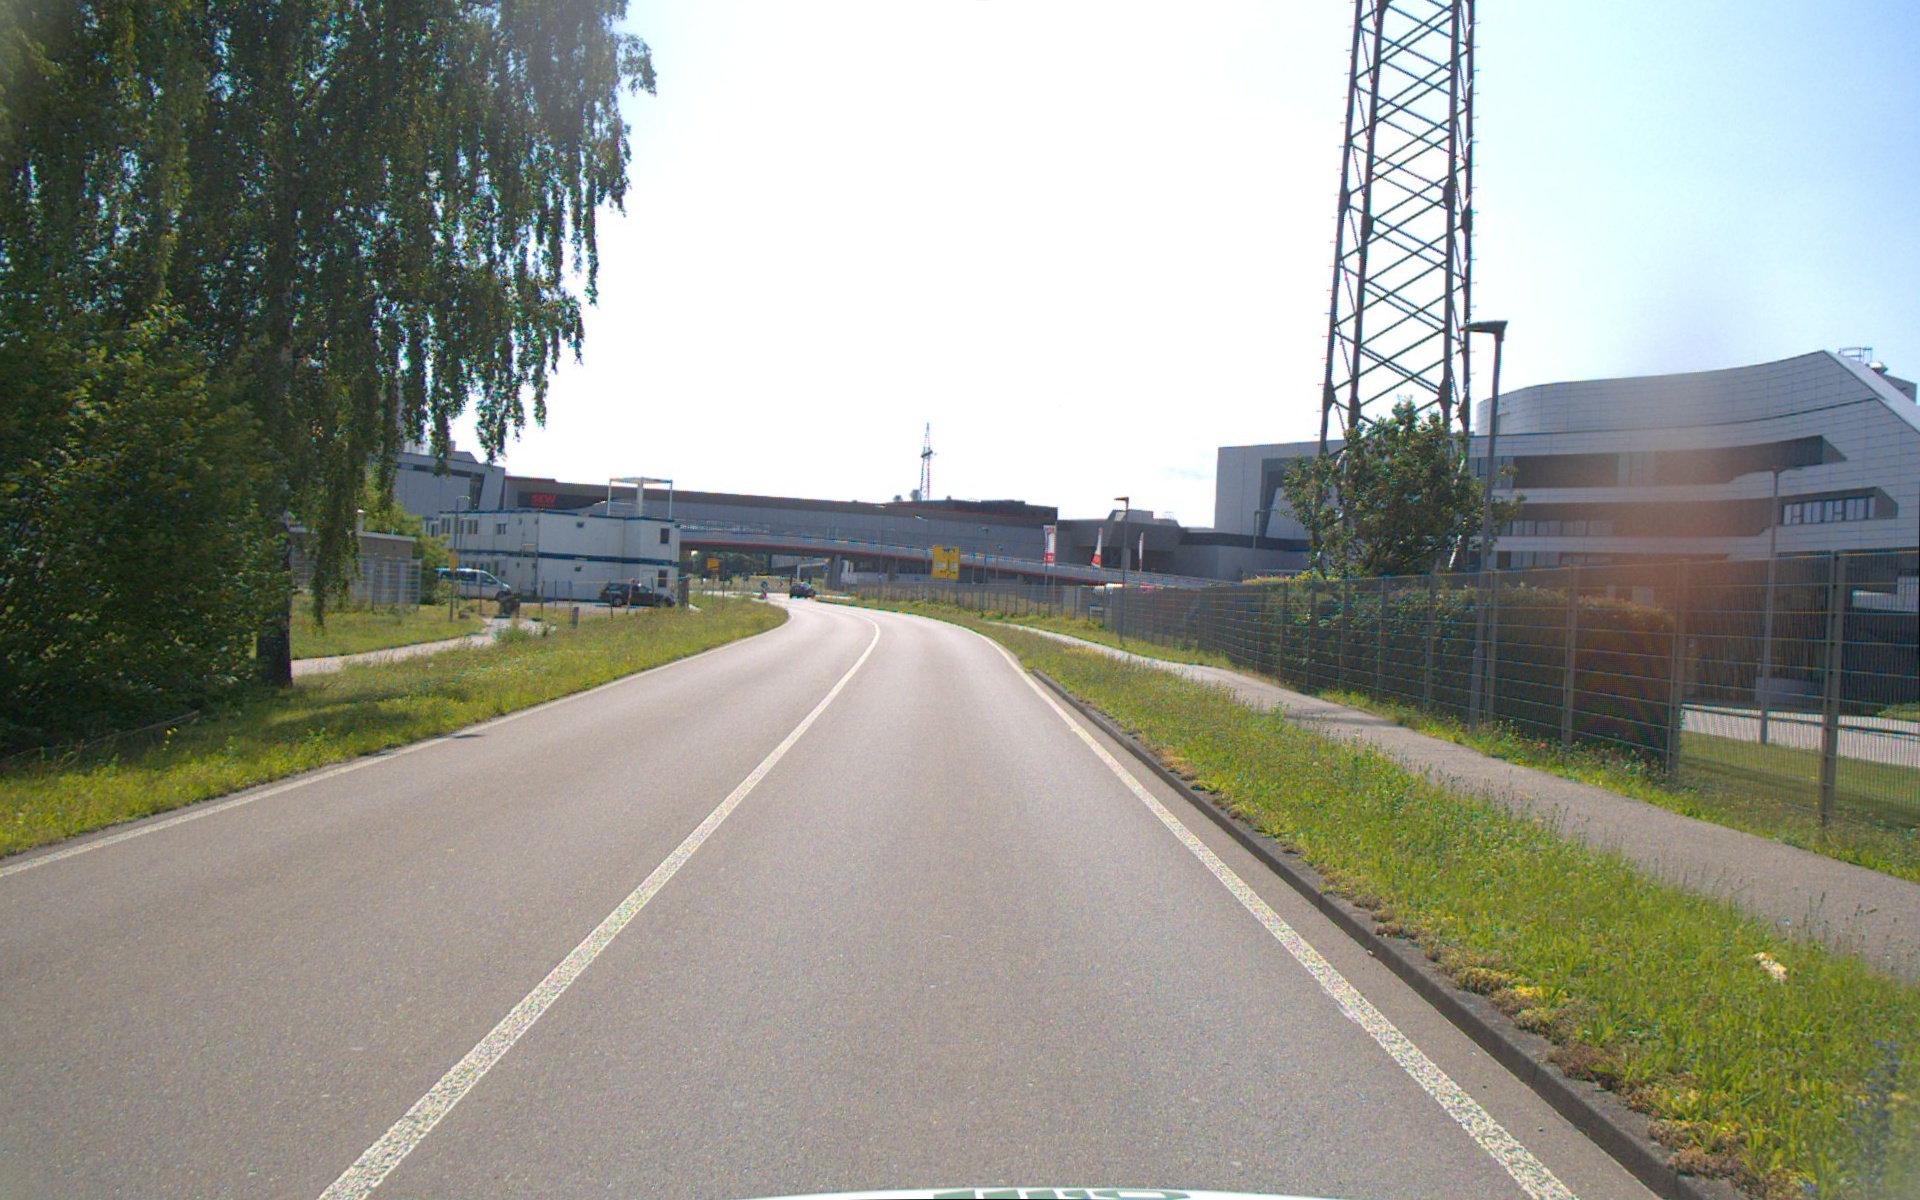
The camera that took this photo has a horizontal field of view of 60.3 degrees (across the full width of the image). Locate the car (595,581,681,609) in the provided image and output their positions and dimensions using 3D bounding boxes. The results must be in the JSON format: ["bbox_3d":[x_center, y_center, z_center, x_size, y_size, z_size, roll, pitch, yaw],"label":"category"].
[{"bbox_3d":[-19.778,-0.306,101.676,4.897,1.441,1.988,3,1,-21],"label":"car"}]

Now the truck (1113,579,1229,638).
[{"bbox_3d":[16.701,0.708,130.090,10.890,4.331,2.980,2,0,-45],"label":"truck"}]

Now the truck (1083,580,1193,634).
[{"bbox_3d":[15.072,0.639,139.080,10.887,4.245,2.778,2,0,-44],"label":"truck"}]

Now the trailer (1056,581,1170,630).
[{"bbox_3d":[15.115,0.592,161.735,2.721,4.515,13.958,1,0,45],"label":"trailer"}]

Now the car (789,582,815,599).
[{"bbox_3d":[-15.428,-0.937,161.190,1.952,1.571,4.001,2,0,2],"label":"car"}]

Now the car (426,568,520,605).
[{"bbox_3d":[-29.262,-0.794,99.484,4.975,1.899,1.971,3,0,-41],"label":"car"}]
